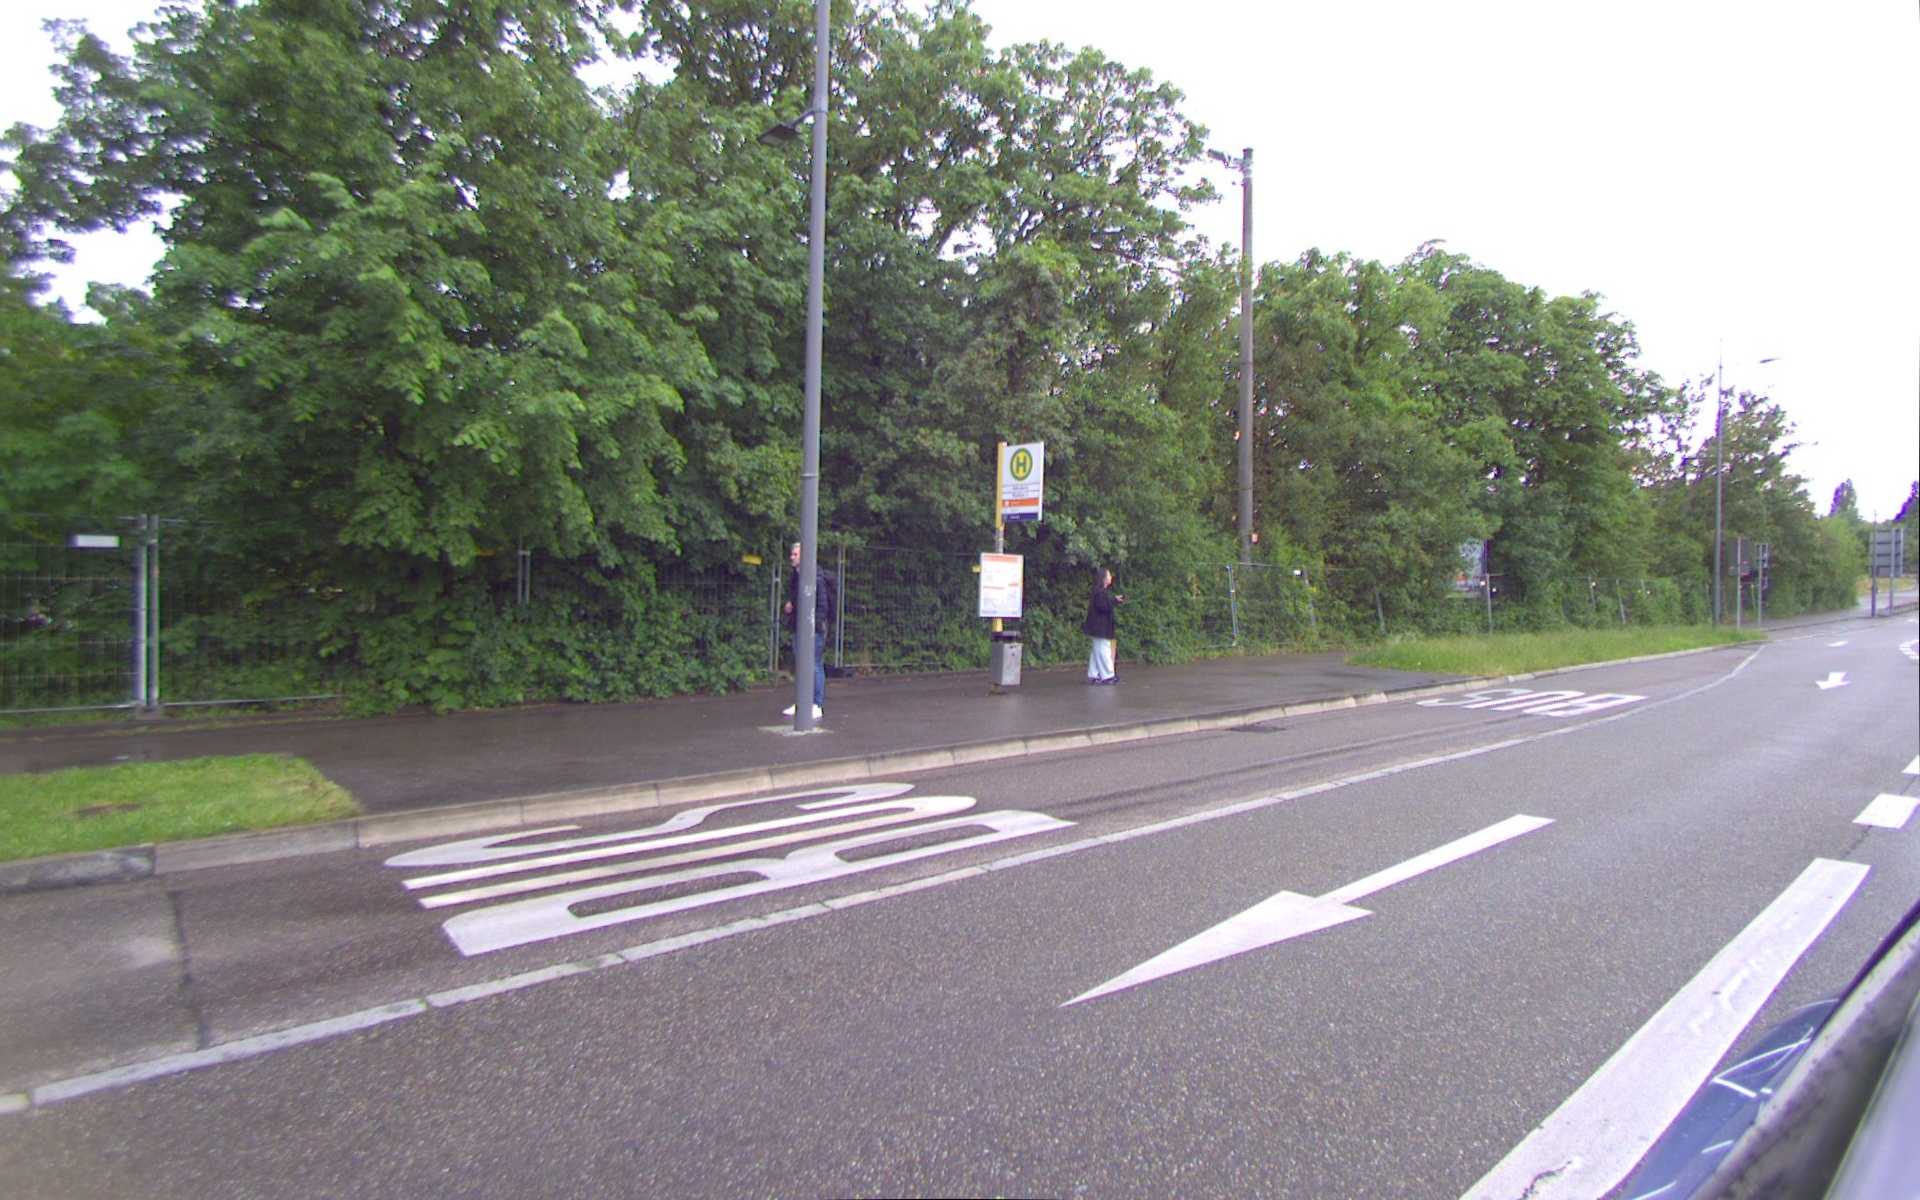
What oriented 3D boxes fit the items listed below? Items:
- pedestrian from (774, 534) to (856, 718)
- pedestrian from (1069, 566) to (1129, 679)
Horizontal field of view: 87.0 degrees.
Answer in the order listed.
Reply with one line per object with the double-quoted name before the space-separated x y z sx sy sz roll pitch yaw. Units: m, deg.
"pedestrian" -1.631 0.272 11.330 0.587 1.973 0.742 0 1 -40
"pedestrian" 2.096 0.325 15.256 0.650 1.648 0.588 0 1 -40
